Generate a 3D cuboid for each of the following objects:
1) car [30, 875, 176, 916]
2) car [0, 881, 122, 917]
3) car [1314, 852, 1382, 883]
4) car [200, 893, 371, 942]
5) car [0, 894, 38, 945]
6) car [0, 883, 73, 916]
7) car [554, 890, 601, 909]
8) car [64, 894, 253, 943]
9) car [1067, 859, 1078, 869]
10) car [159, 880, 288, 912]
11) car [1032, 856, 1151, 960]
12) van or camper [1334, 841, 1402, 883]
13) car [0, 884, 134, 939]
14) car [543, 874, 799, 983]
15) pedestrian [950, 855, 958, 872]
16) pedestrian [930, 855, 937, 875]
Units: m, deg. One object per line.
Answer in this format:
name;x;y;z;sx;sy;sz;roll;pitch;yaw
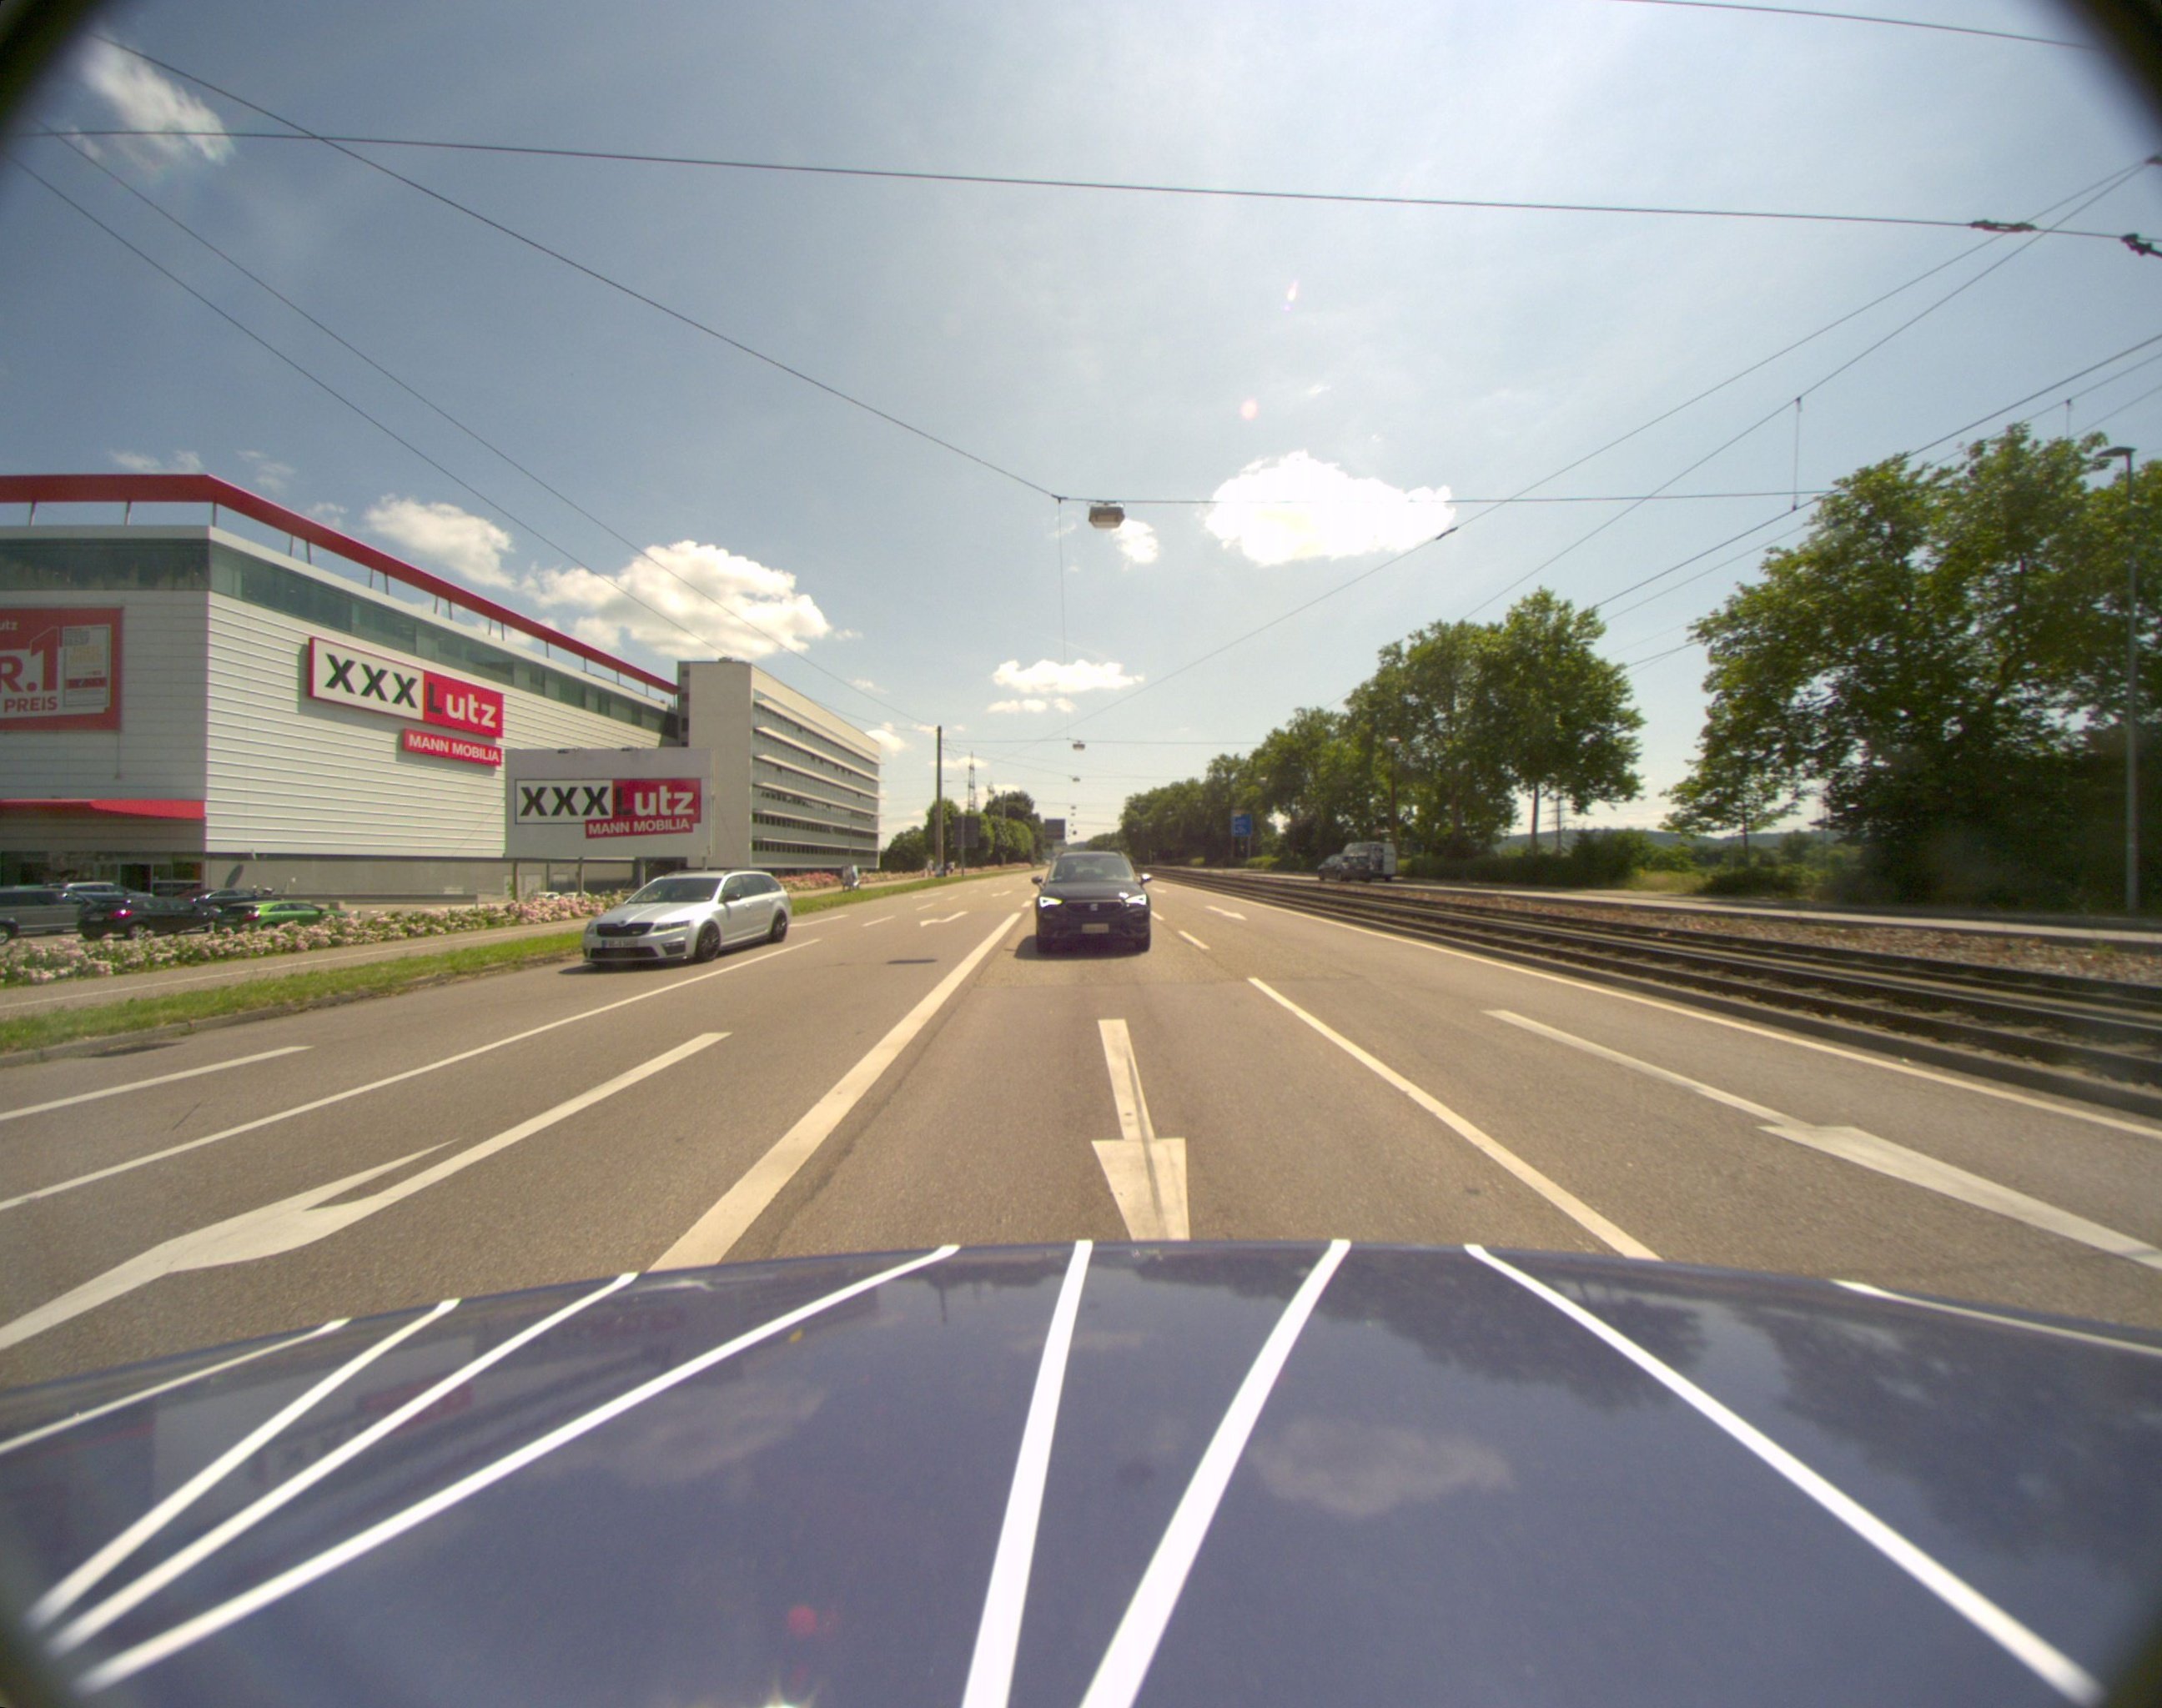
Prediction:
car;-52.889;2.204;41.267;1.998;1.910;4.520;-1;0;1
car;-56.097;2.412;41.334;1.998;1.682;4.520;-1;0;1
car;15.143;0.757;43.383;1.999;1.627;4.263;2;0;-5
car;-31.814;2.485;30.610;1.998;1.554;4.520;-1;0;2
car;-39.001;2.363;25.371;1.998;1.707;4.503;-2;0;3
car;-59.359;2.513;41.698;1.999;1.682;4.519;-1;0;-1
car;-50.025;4.505;75.598;1.999;1.637;4.000;-1;0;-1
car;-36.843;2.514;30.583;1.998;1.546;4.520;-1;0;1
car;-1.640;1.918;150.041;1.819;1.829;4.001;-1;0;4
car;-45.133;2.195;40.179;1.698;1.392;4.519;-1;0;-1
car;0.157;0.850;13.878;1.820;1.583;4.000;-1;0;0
van or camper;19.046;0.498;50.741;1.999;2.571;5.842;1;0;-4
car;-41.476;2.255;30.154;1.998;1.883;4.520;-1;0;1
car;-6.587;1.105;12.899;1.802;1.390;4.460;-1;0;1
pedestrian;-12.571;0.901;75.288;0.599;1.645;0.634;-1;0;-1
pedestrian;-13.400;1.011;68.935;0.518;1.783;0.634;-1;0;-1
